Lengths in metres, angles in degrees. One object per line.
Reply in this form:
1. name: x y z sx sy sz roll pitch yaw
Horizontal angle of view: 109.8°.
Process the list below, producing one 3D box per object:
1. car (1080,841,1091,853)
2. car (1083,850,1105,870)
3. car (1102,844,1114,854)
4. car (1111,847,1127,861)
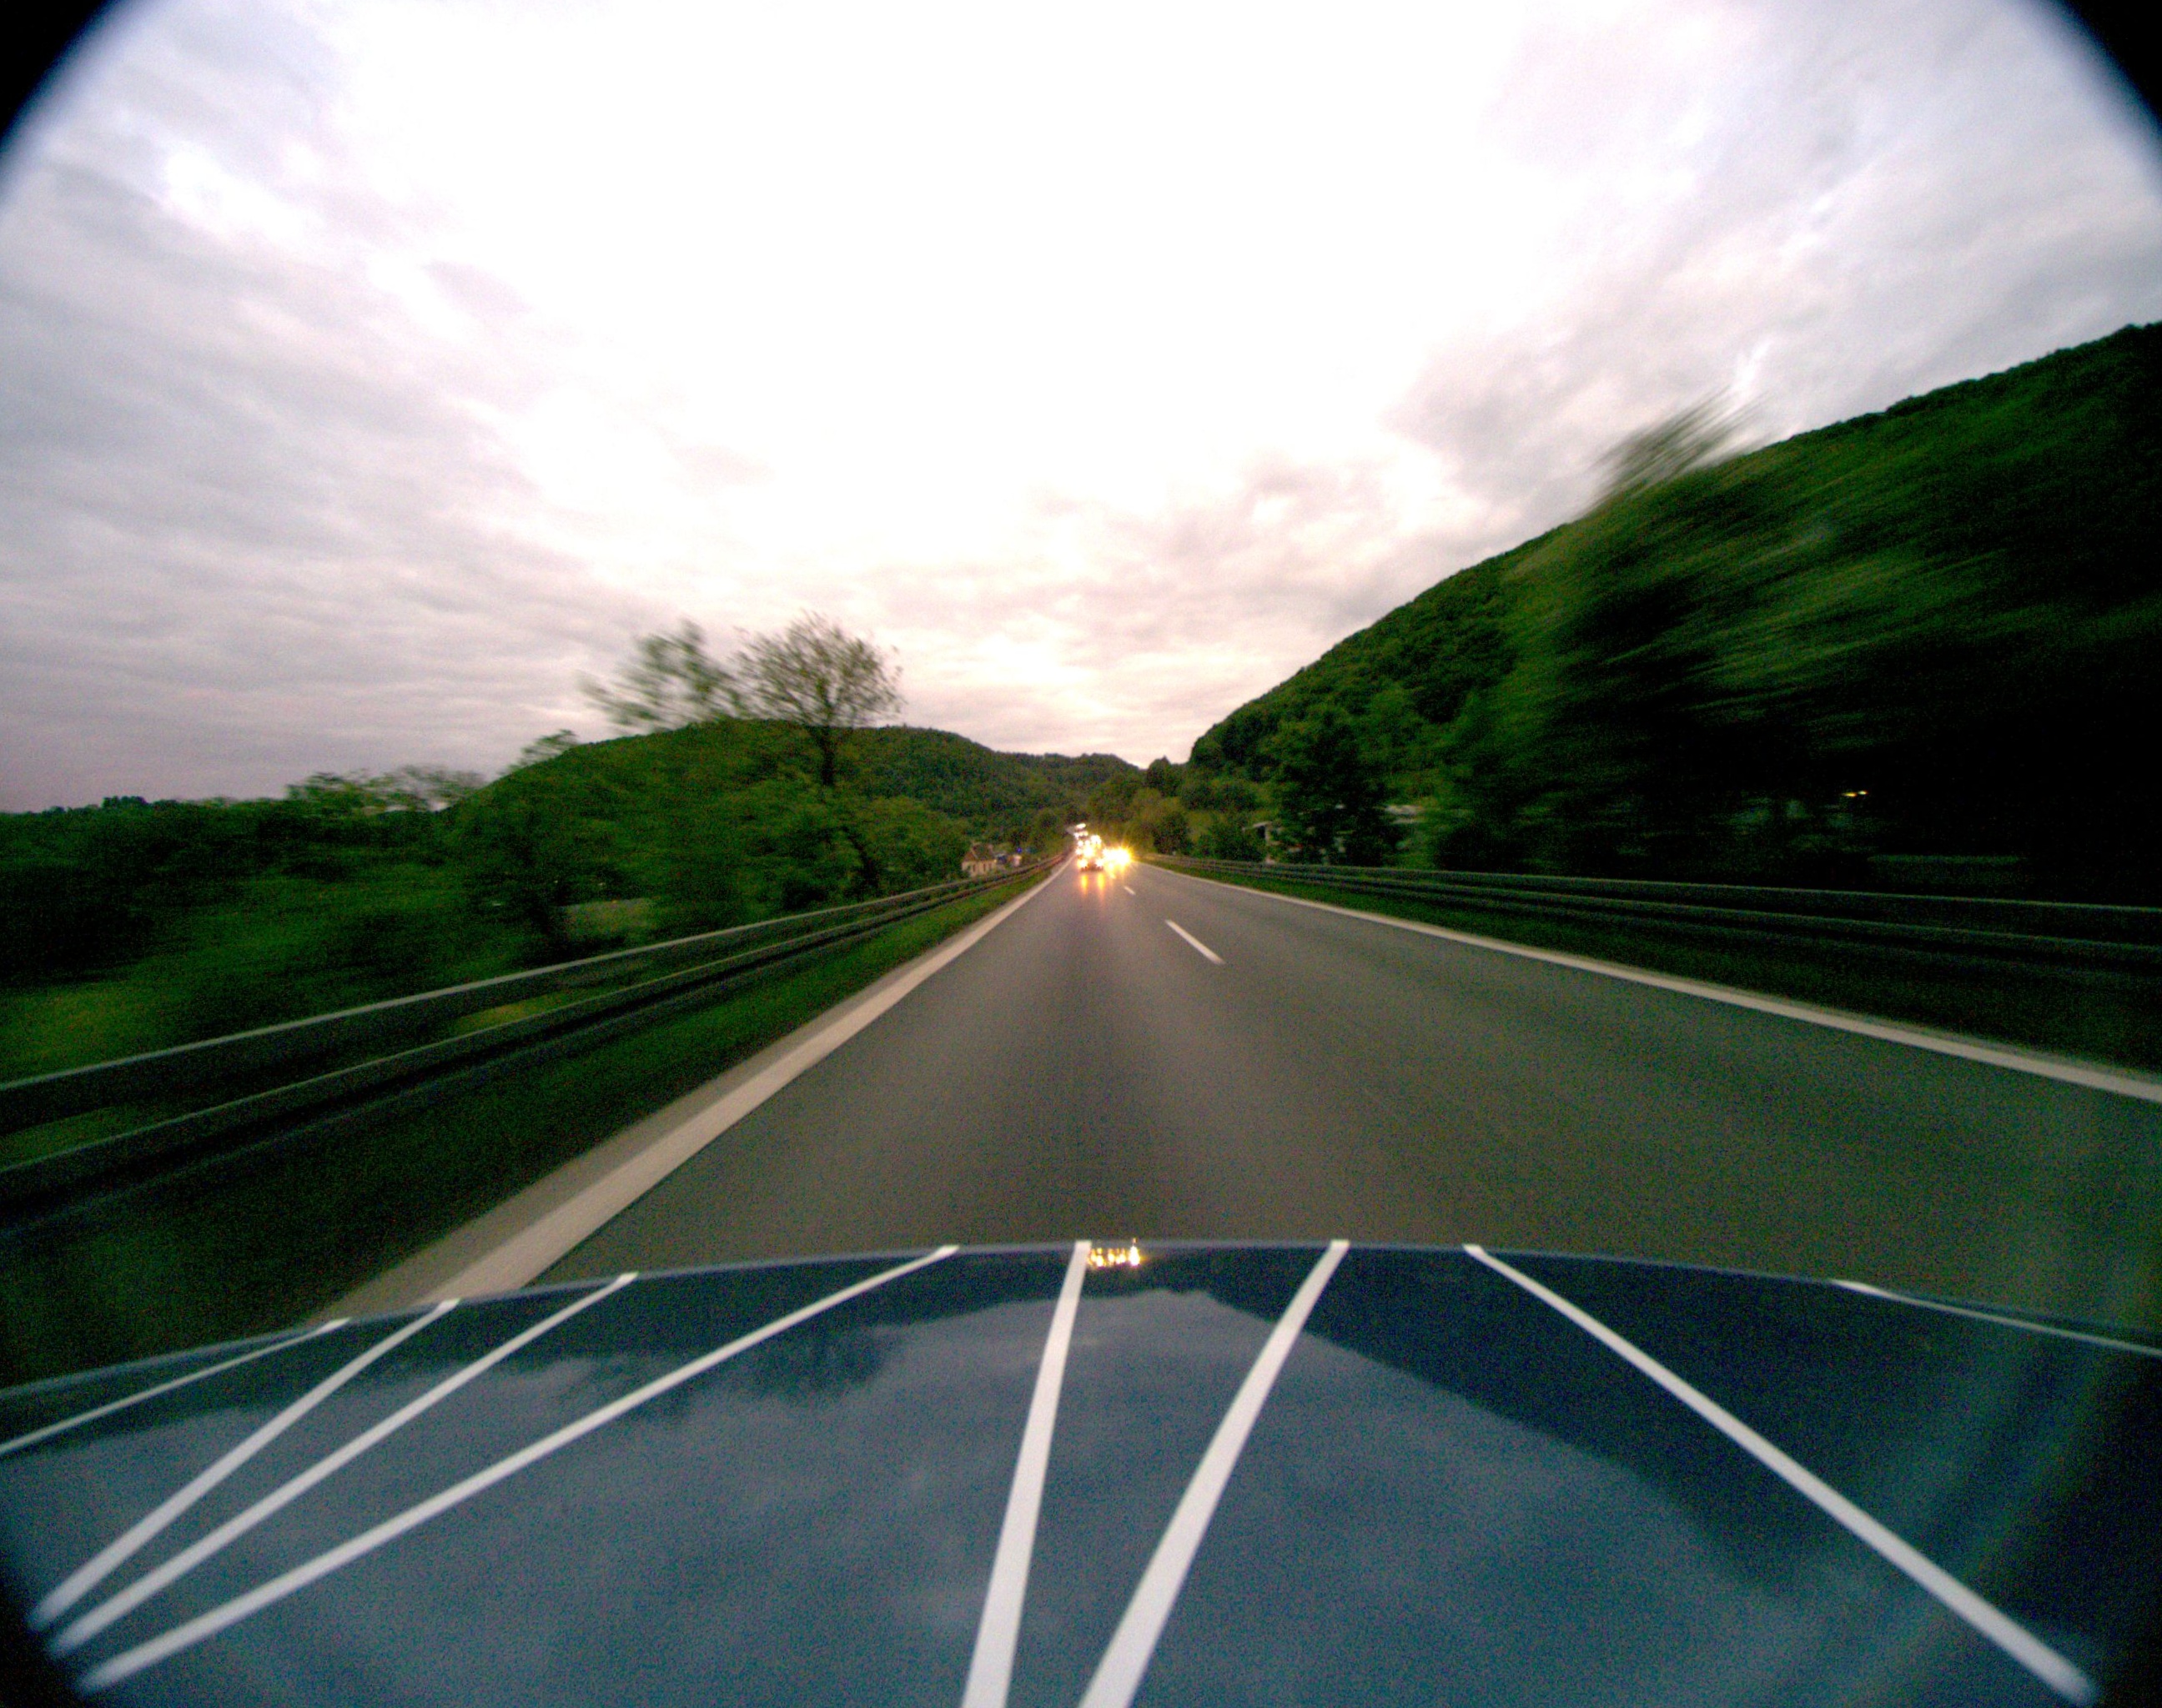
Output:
1. car: 0.749 -1.053 119.633 1.737 1.641 3.670 -1 -2 0
2. car: 1.026 0.499 60.783 1.690 1.443 3.670 -1 -2 0
3. car: 4.421 -0.788 124.628 1.690 1.424 3.670 -1 -2 0
4. car: 4.452 -0.018 90.264 1.690 1.459 3.769 -1 -2 0
